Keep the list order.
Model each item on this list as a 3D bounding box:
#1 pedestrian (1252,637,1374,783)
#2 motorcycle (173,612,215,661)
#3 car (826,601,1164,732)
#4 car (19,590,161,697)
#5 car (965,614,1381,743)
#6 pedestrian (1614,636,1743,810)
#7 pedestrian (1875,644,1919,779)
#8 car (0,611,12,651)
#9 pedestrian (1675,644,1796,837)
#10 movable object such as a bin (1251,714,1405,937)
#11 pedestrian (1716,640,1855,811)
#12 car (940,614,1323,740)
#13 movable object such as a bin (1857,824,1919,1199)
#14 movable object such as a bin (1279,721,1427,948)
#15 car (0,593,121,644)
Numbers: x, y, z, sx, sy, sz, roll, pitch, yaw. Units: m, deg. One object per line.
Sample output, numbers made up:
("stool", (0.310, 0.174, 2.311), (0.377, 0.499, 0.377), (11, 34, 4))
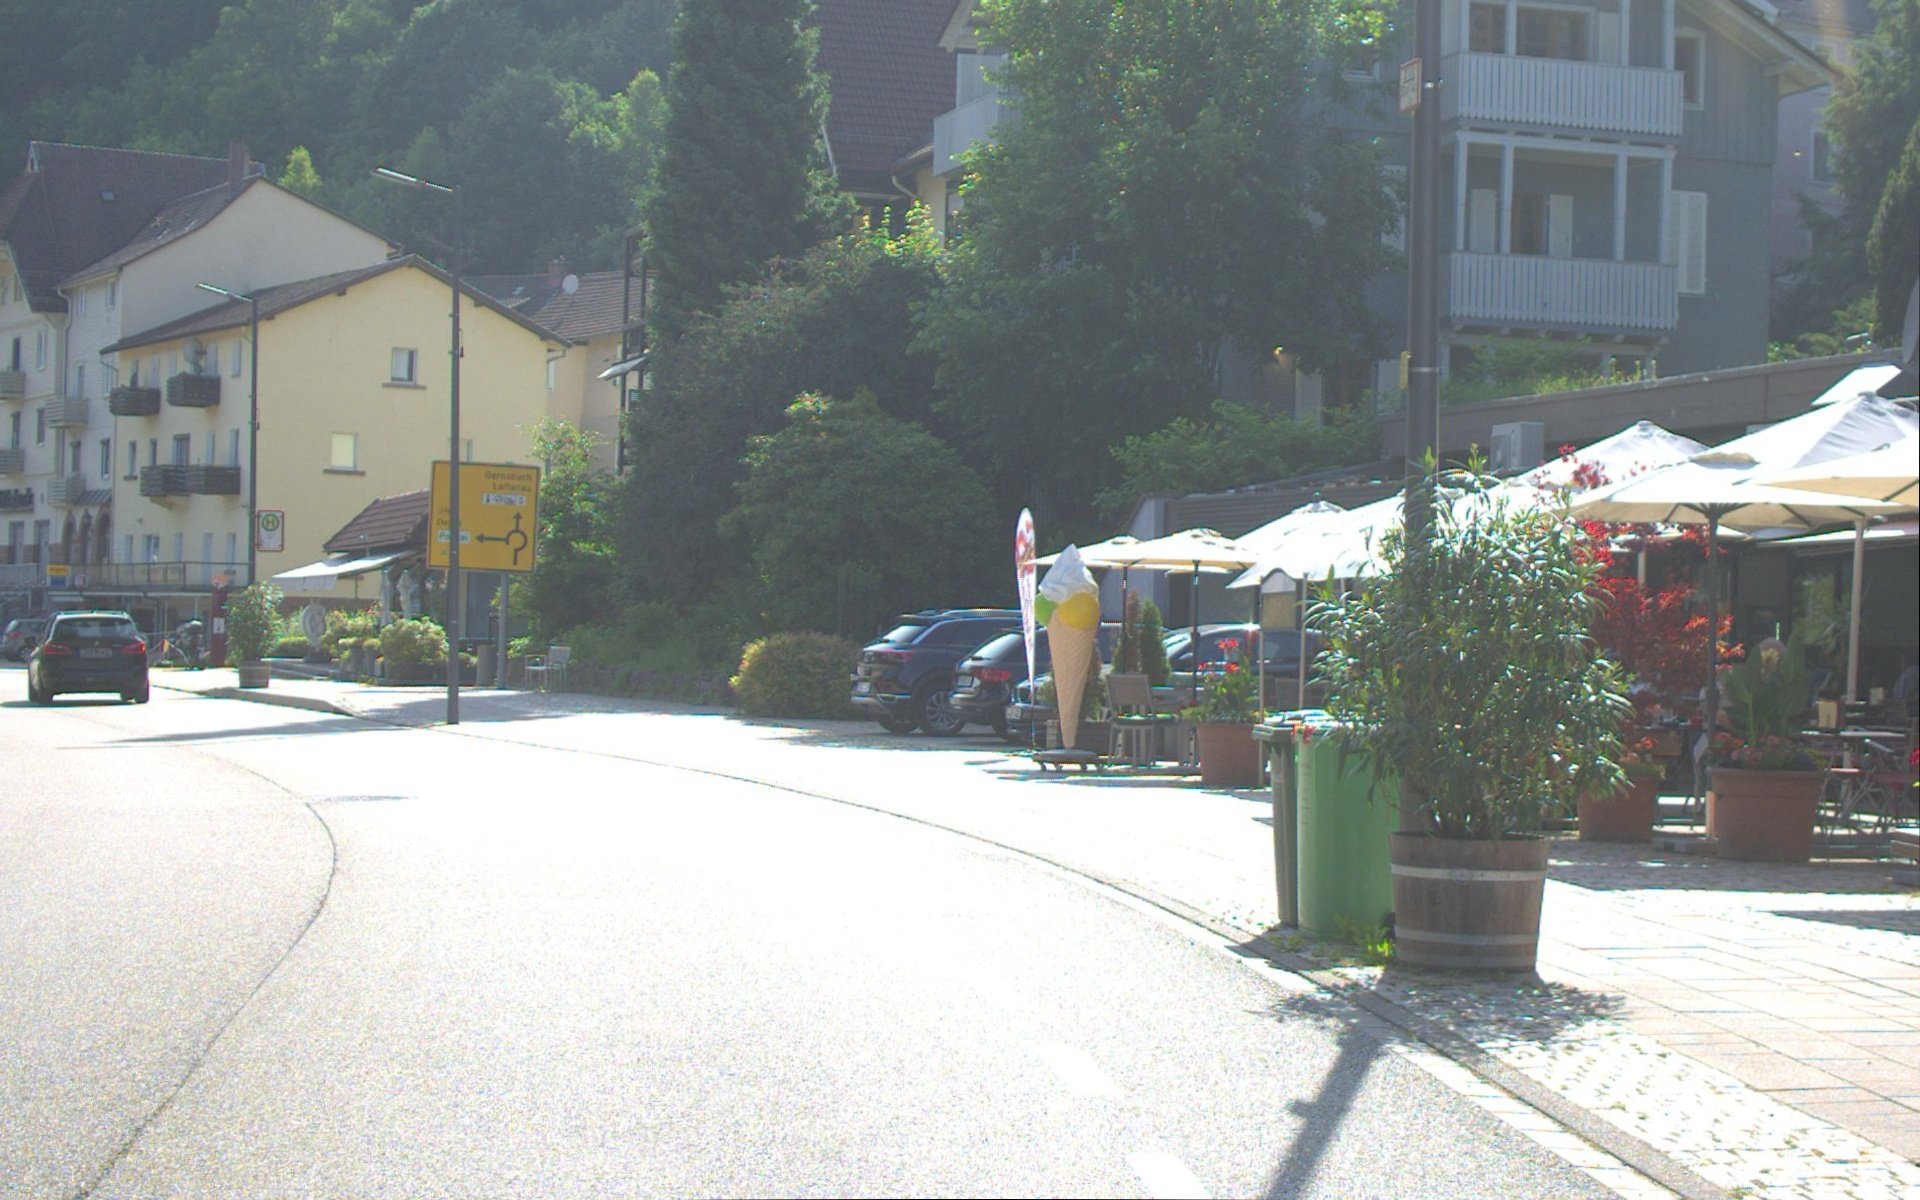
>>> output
("pedestrian", (3.099, 0.957, 30.188), (0.809, 1.257, 0.700), (1, 0, -27))
("motorcycle", (-20.748, 0.978, 93.076), (0.697, 1.292, 2.213), (-1, 0, -23))
("car", (0.430, 0.835, 43.157), (3.874, 1.575, 1.749), (1, 0, -17))
("car", (-14.722, 0.715, 58.073), (1.727, 1.569, 3.754), (3, 1, -23))
("car", (2.356, 0.872, 38.156), (4.261, 1.374, 1.710), (1, -1, -17))
("pedestrian", (5.308, 0.901, 25.427), (0.810, 1.257, 0.700), (0, 0, 1))
("pedestrian", (8.649, 1.004, 31.107), (0.686, 1.204, 0.700), (0, 0, 14))
("car", (-40.152, 1.103, 137.555), (3.909, 1.584, 1.775), (5, -1, -28))
("pedestrian", (5.080, 0.910, 22.530), (0.472, 1.241, 0.593), (0, -1, -34))
("movable object such as a bin", (1.584, 0.964, 14.850), (0.547, 0.922, 0.520), (0, 0, -8))
("pedestrian", (6.268, 0.940, 26.106), (0.811, 1.257, 0.699), (0, 0, 37))
("car", (1.997, 0.905, 40.259), (4.108, 1.410, 1.749), (1, -1, -17))
("movable object such as a bin", (2.440, 0.996, 7.997), (0.525, 0.909, 0.563), (0, 1, -5))
("movable object such as a bin", (1.635, 0.971, 14.339), (0.514, 0.909, 0.442), (0, 0, -8))
("car", (-32.701, 0.674, 124.963), (3.859, 1.549, 1.761), (5, -2, -31))
